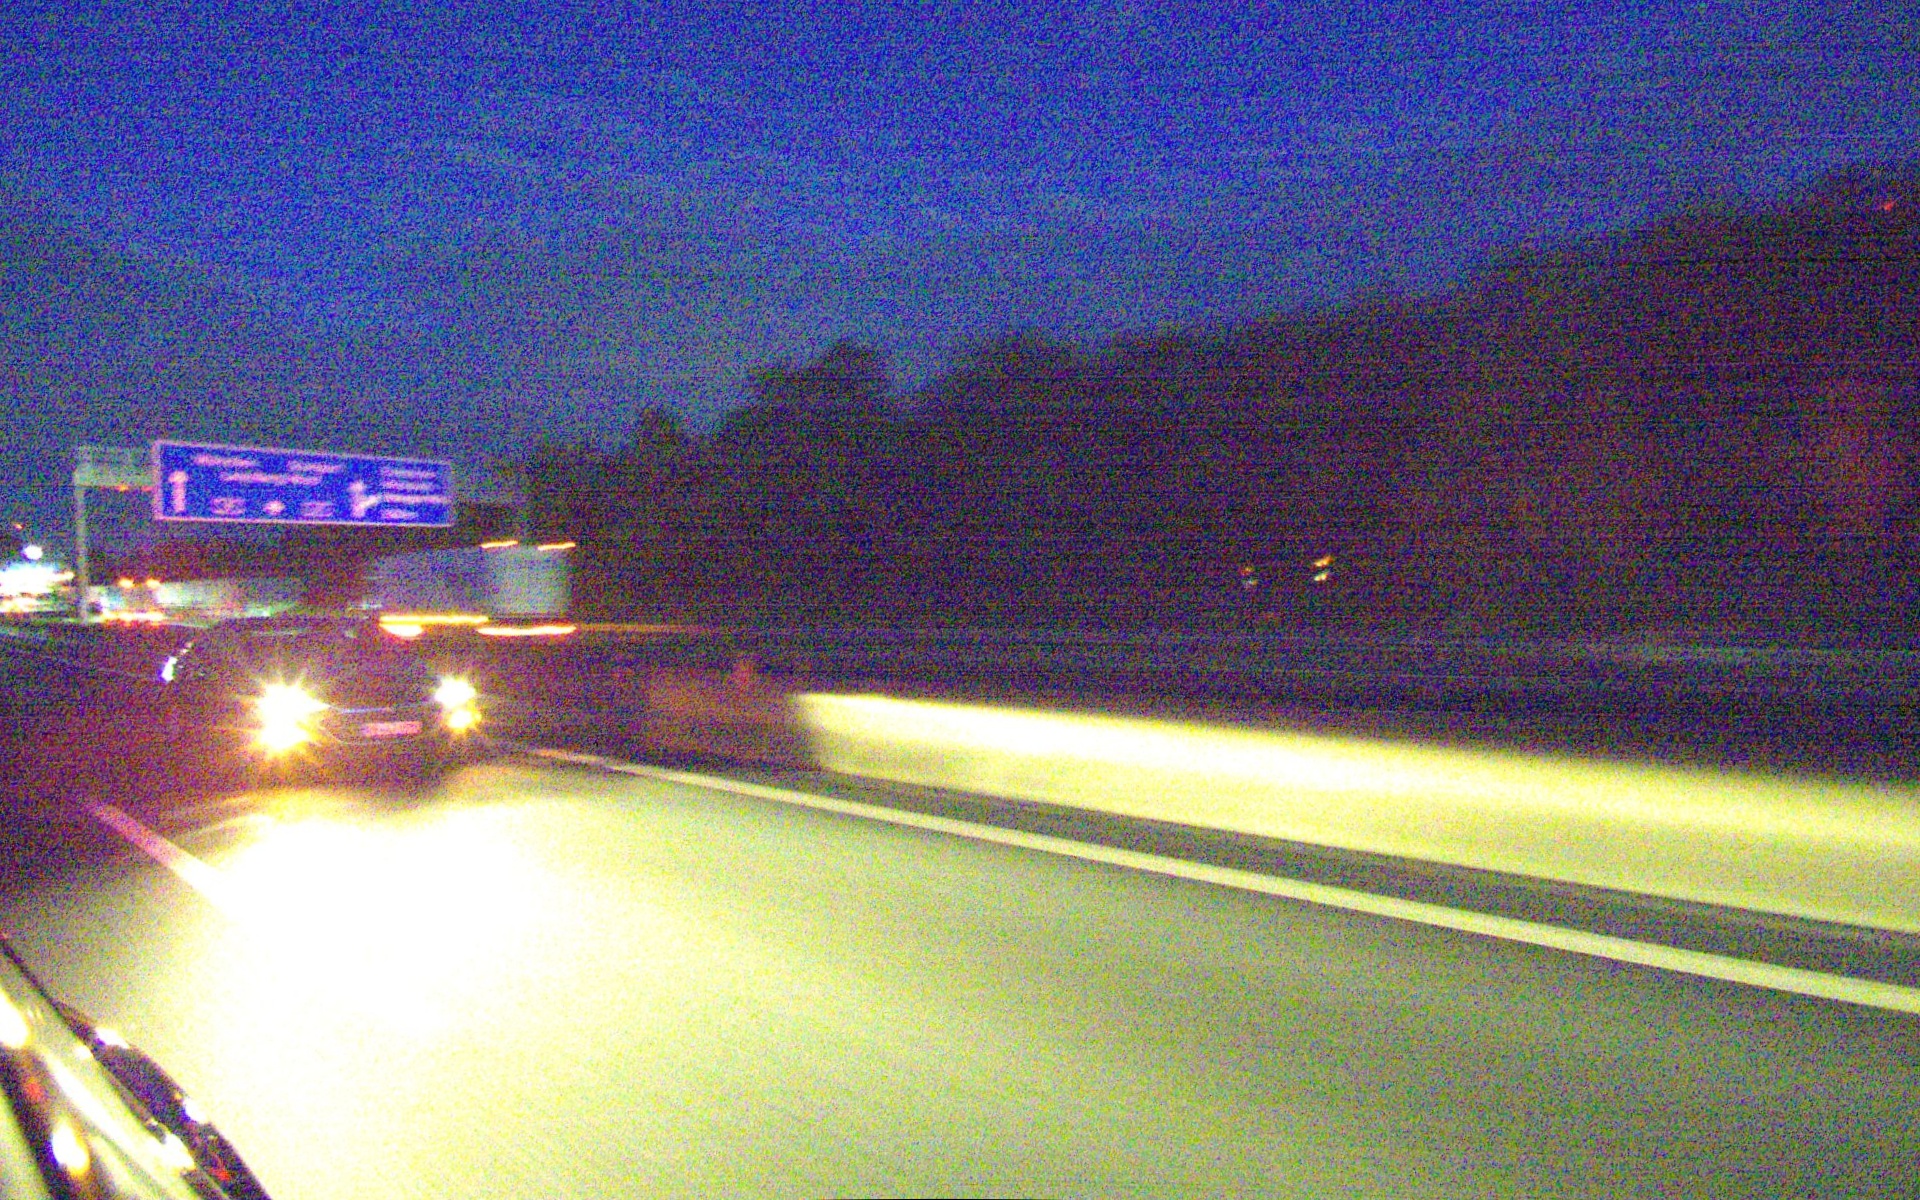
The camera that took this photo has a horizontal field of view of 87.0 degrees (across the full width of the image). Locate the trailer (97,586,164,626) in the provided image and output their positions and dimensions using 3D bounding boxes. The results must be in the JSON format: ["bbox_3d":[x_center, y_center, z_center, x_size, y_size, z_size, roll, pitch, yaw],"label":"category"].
[{"bbox_3d":[-86.372,0.650,105.191,14.046,4.010,3.393,-1,0,42],"label":"trailer"}]

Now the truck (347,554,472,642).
[{"bbox_3d":[-26.846,-0.076,49.271,6.204,4.010,3.395,-1,0,41],"label":"truck"}]

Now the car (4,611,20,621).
[{"bbox_3d":[-167.851,2.809,179.185,4.673,1.706,1.803,1,1,43],"label":"car"}]

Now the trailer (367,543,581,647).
[{"bbox_3d":[-21.939,-0.143,44.976,13.805,4.010,3.394,-1,0,41],"label":"trailer"}]

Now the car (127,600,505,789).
[{"bbox_3d":[-7.189,0.862,10.961,5.648,1.530,1.973,-2,-1,42],"label":"car"}]

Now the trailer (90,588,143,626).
[{"bbox_3d":[-91.926,0.726,110.259,7.351,4.010,3.393,-1,0,42],"label":"trailer"}]
